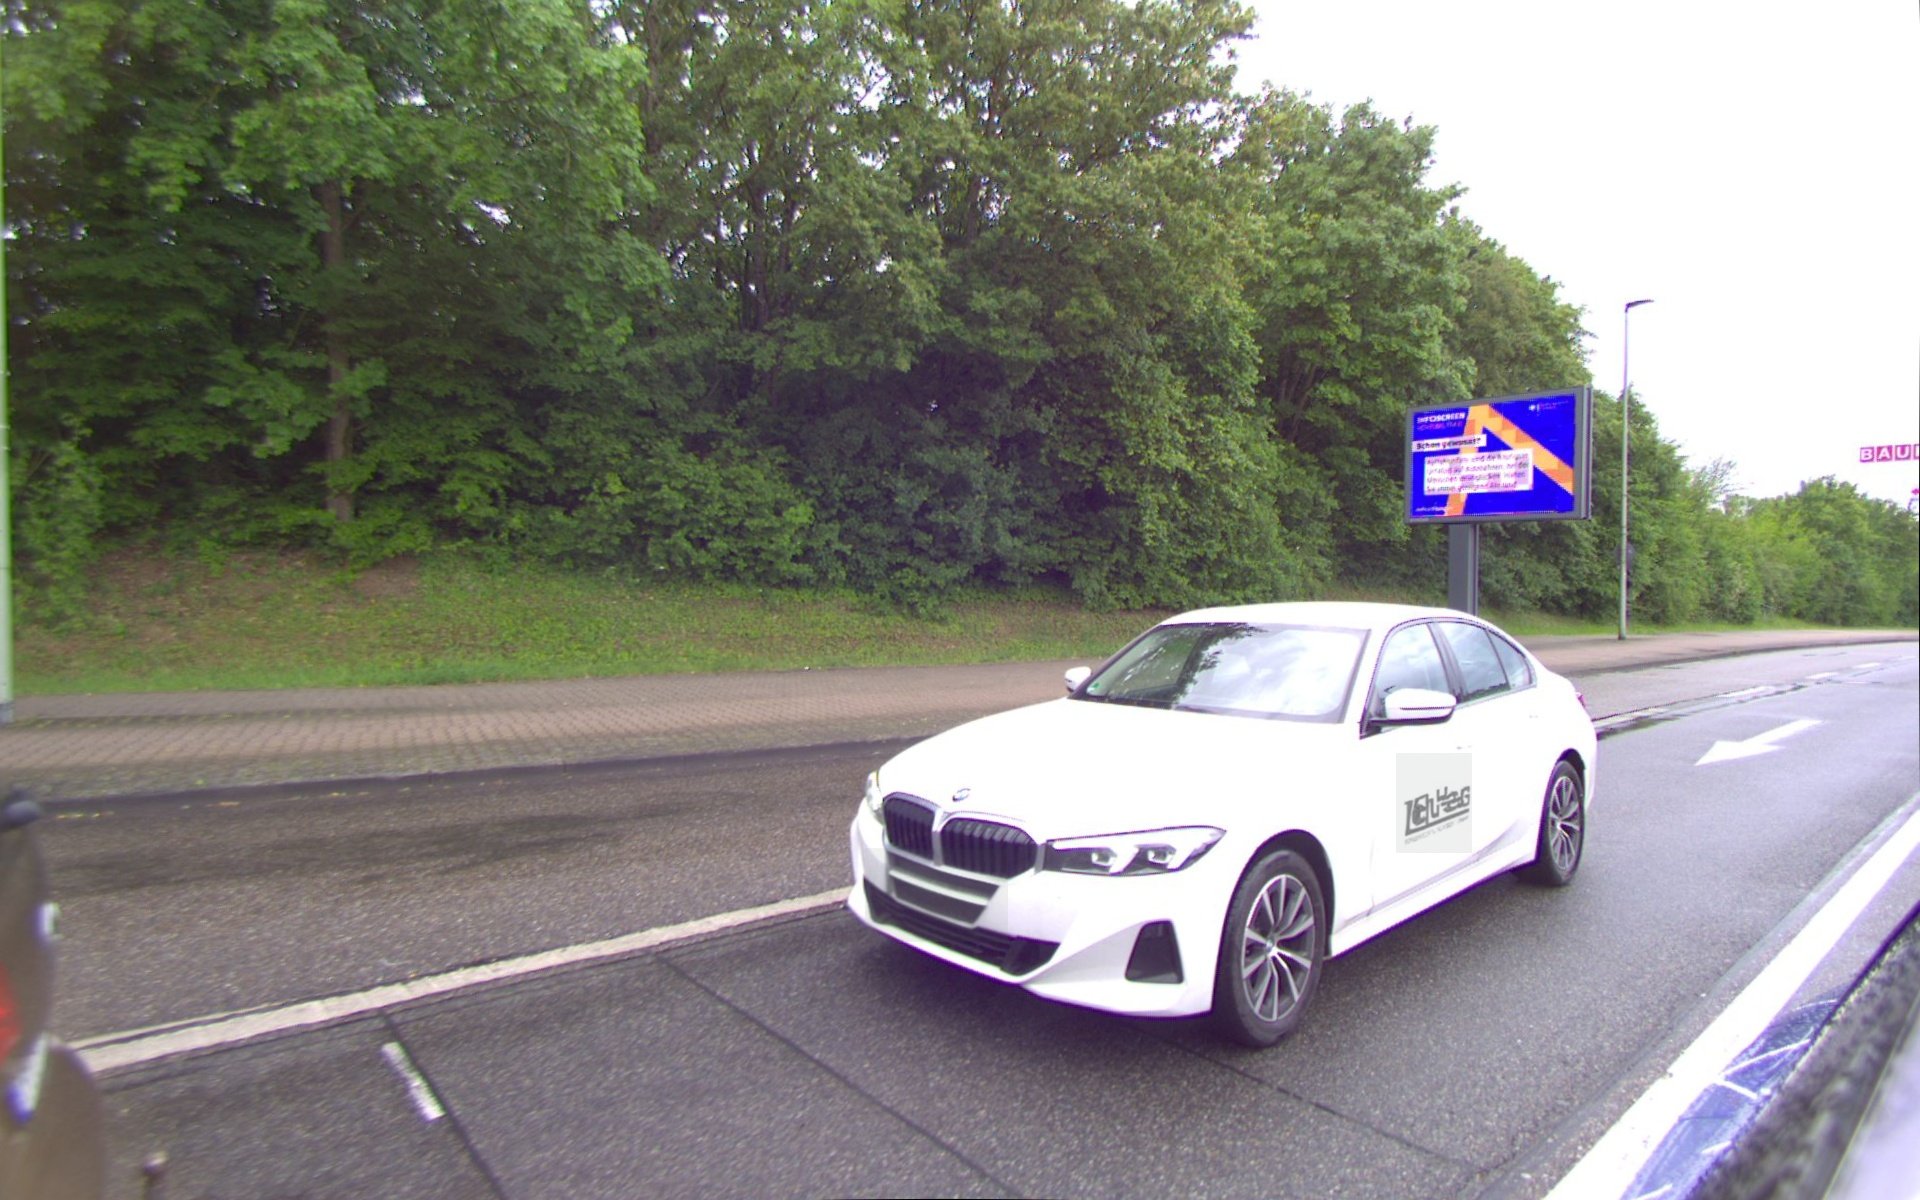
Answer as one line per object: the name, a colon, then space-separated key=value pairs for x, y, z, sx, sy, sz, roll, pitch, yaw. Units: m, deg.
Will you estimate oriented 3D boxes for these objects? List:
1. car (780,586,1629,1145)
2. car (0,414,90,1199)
car: x=1.569 y=0.691 z=4.952 sx=4.600 sy=1.475 sz=1.782 roll=-1 pitch=1 yaw=-42
car: x=-3.052 y=0.638 z=0.518 sx=3.911 sy=1.629 sz=1.750 roll=-1 pitch=1 yaw=-41
